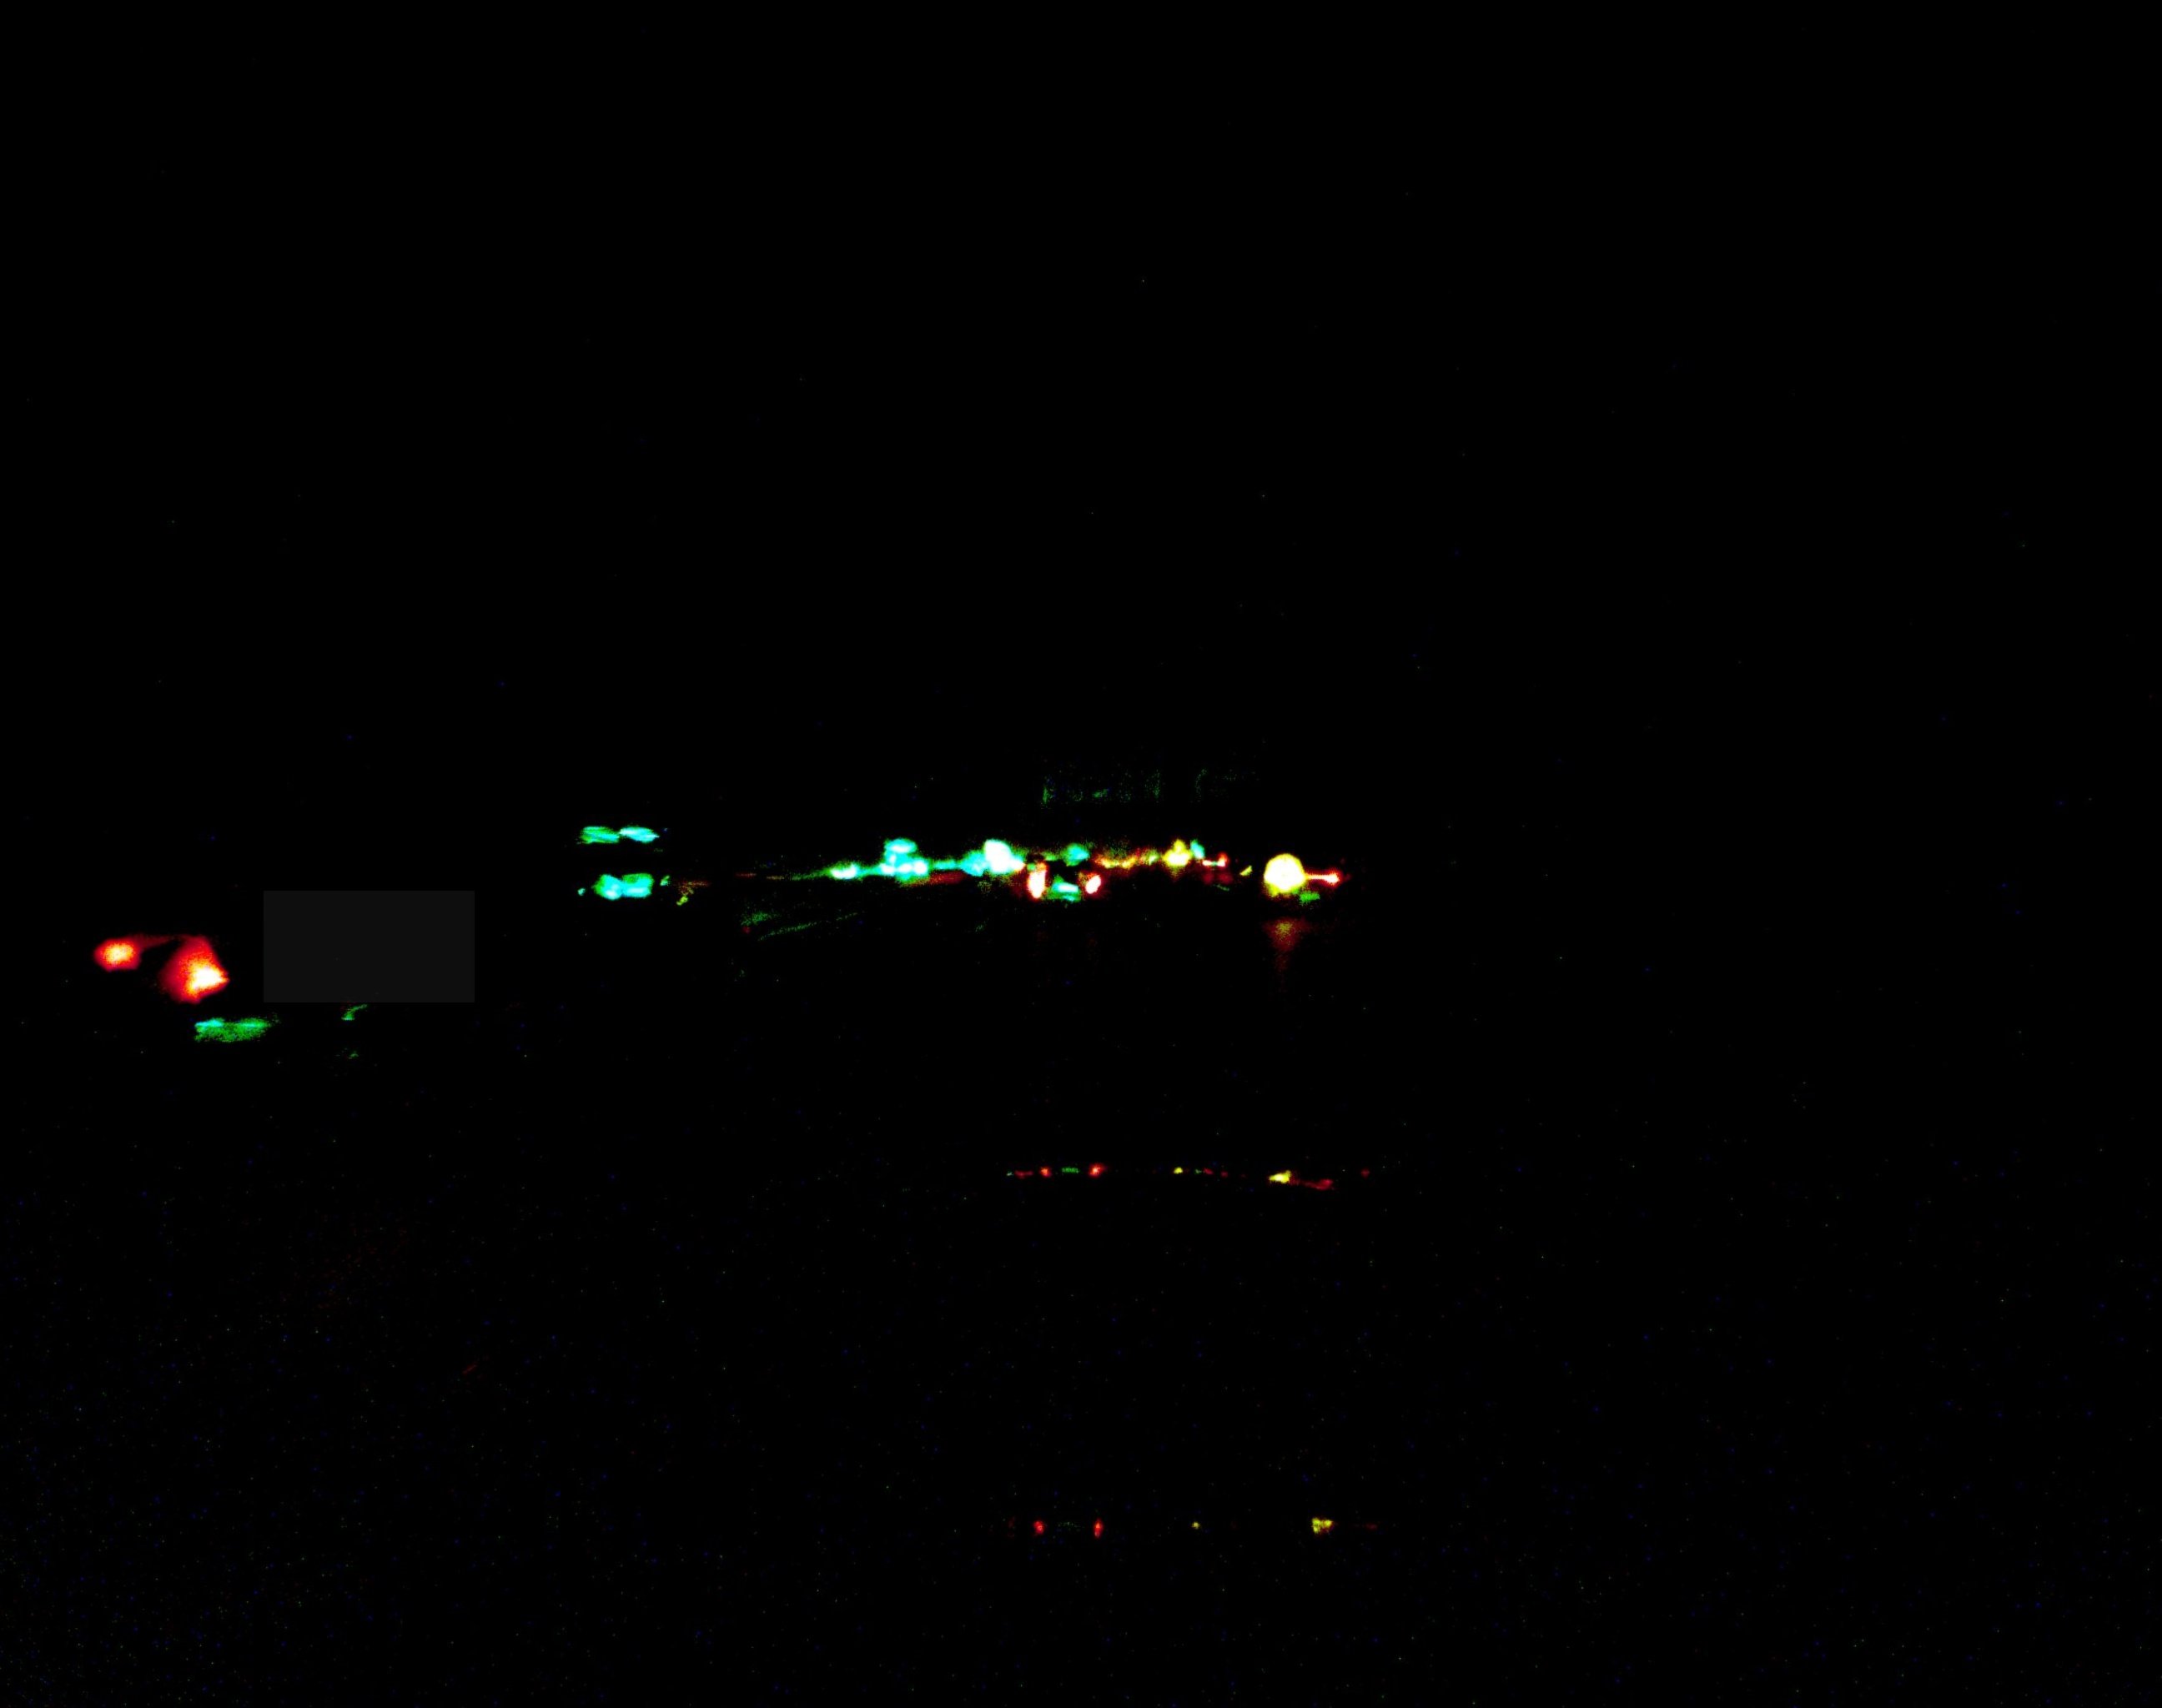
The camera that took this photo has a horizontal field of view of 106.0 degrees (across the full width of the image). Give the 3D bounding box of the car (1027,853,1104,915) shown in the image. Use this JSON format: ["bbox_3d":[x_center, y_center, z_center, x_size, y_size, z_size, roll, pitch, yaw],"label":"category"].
[{"bbox_3d":[-0.327,0.739,21.891,1.794,1.487,4.003,-1,0,3],"label":"car"}]

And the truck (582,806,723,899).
[{"bbox_3d":[-19.589,-0.036,37.739,2.686,3.759,6.456,-4,-1,2],"label":"truck"}]

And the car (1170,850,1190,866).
[{"bbox_3d":[10.245,0.392,84.620,1.855,1.618,4.004,-1,0,4],"label":"car"}]

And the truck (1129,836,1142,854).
[{"bbox_3d":[9.975,-1.585,148.984,1.985,3.042,6.472,-4,-1,4],"label":"truck"}]

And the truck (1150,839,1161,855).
[{"bbox_3d":[15.095,-1.298,165.775,1.985,3.042,6.472,-4,-1,4],"label":"truck"}]

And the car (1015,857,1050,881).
[{"bbox_3d":[-2.844,0.885,48.400,1.656,1.236,3.762,-4,-1,1],"label":"car"}]

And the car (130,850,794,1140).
[{"bbox_3d":[-4.359,0.798,6.995,1.851,1.540,4.754,-1,1,3],"label":"car"}]

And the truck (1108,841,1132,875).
[{"bbox_3d":[3.757,0.378,77.505,1.985,3.042,6.472,-4,-1,4],"label":"truck"}]

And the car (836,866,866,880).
[{"bbox_3d":[-24.875,2.019,88.228,1.553,1.377,4.597,-4,-1,3],"label":"car"}]

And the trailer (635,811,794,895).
[{"bbox_3d":[-19.392,-0.008,44.404,2.686,3.748,12.025,-4,-1,2],"label":"trailer"}]

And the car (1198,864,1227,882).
[{"bbox_3d":[9.820,1.397,60.943,1.576,1.246,3.067,-1,0,-1],"label":"car"}]

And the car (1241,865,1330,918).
[{"bbox_3d":[5.426,0.969,21.918,1.576,1.246,3.067,-1,0,-1],"label":"car"}]

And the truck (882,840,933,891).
[{"bbox_3d":[-17.703,1.135,83.509,2.911,4.849,7.582,-4,-1,3],"label":"truck"}]
